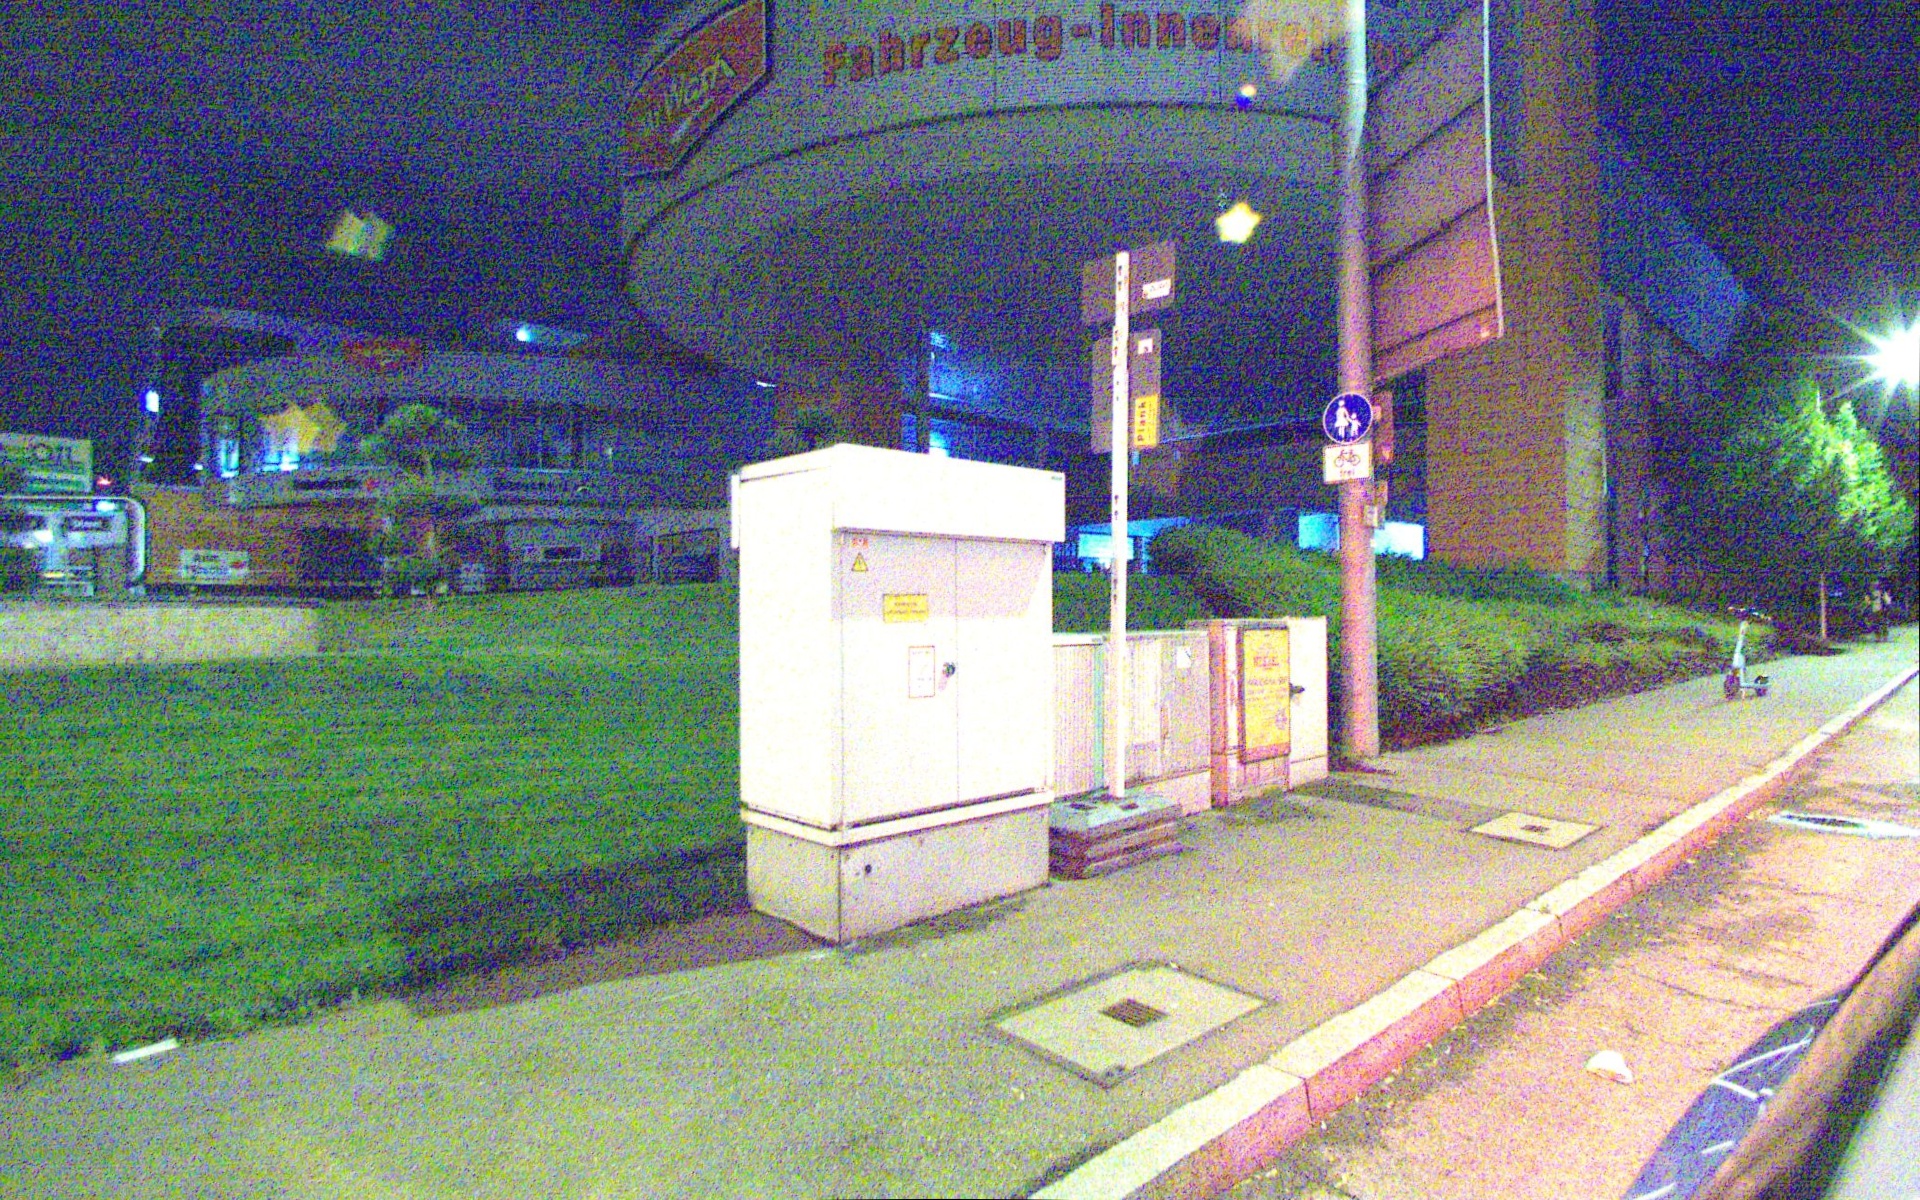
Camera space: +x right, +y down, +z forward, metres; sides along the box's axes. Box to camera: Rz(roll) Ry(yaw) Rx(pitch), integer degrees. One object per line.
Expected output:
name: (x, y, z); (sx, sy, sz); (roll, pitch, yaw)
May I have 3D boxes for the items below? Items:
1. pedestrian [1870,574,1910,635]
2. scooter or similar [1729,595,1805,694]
pedestrian: (28.917, 0.137, 31.455); (0.597, 1.842, 0.824); (-1, 0, -40)
scooter or similar: (11.270, 0.594, 14.128); (1.367, 1.295, 0.569); (0, 1, -41)
